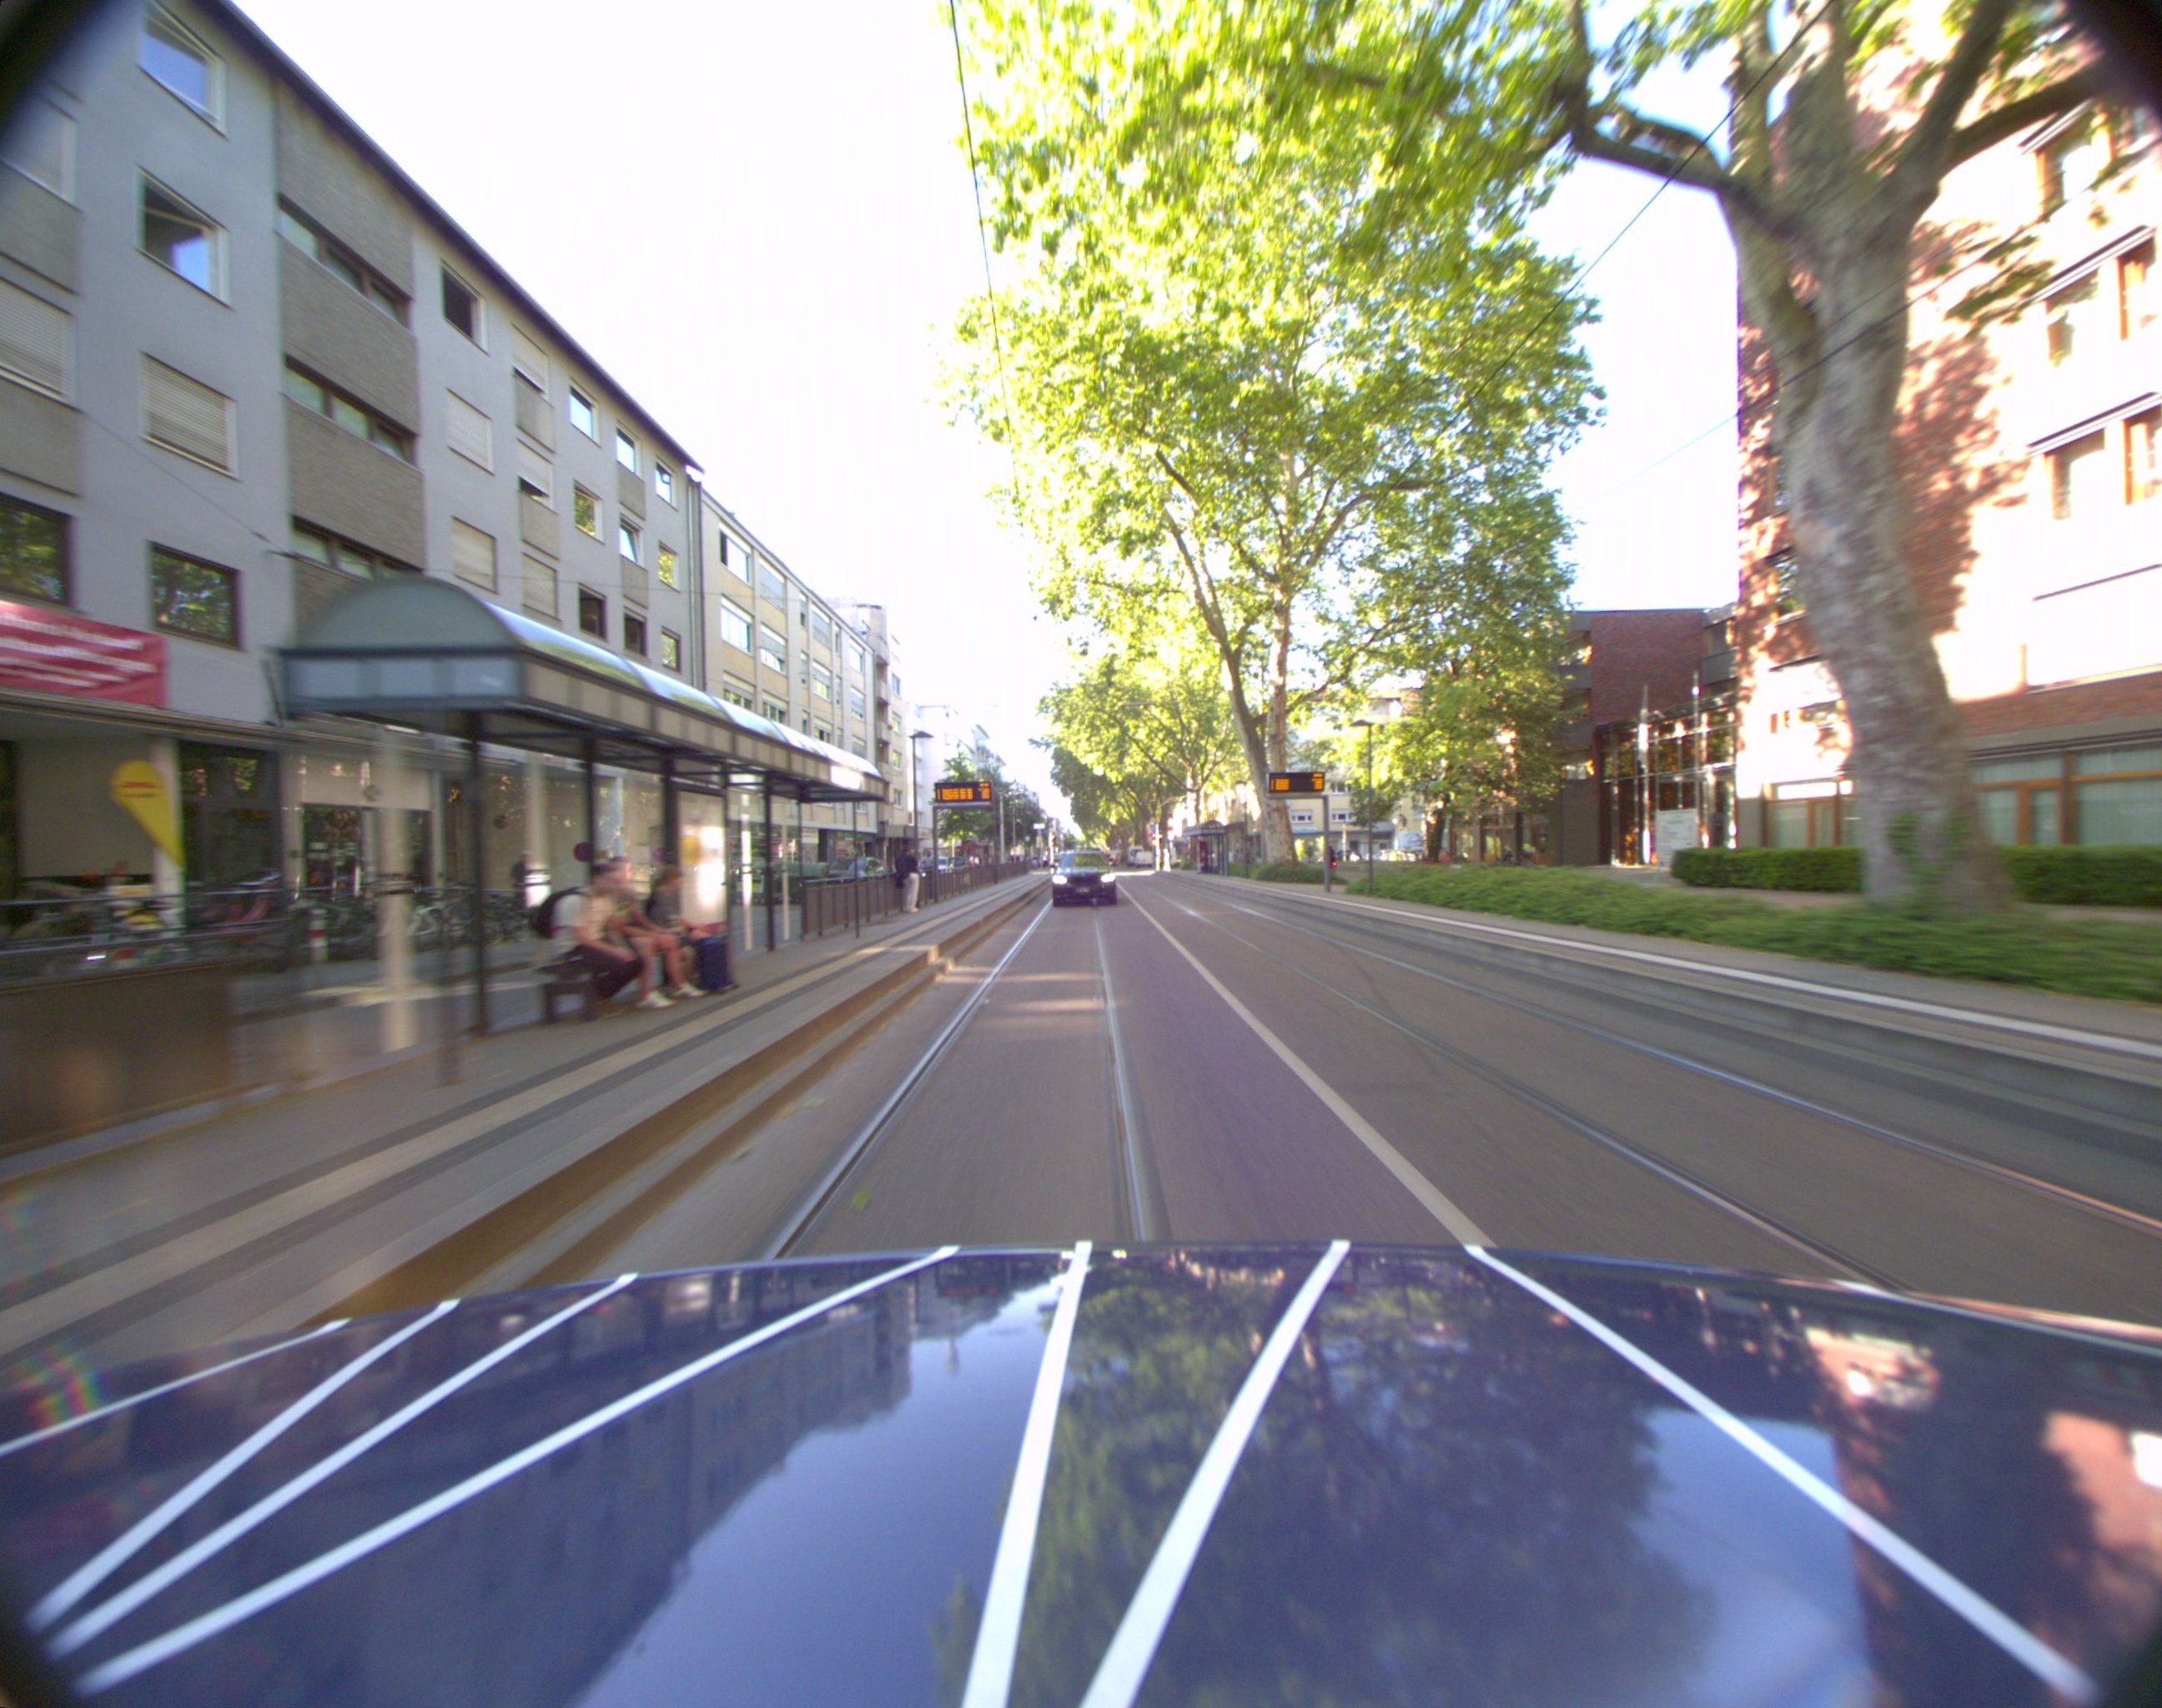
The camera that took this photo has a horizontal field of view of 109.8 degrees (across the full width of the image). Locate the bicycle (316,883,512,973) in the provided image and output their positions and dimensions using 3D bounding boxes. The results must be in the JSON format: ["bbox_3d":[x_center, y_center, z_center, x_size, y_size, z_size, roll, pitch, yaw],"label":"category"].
[{"bbox_3d":[-10.601,1.118,12.287,0.773,1.173,2.782,4,-1,-3],"label":"bicycle"}]

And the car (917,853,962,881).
[{"bbox_3d":[-8.820,0.782,47.686,1.998,1.572,4.000,-2,1,1],"label":"car"}]

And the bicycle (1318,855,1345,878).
[{"bbox_3d":[12.343,0.602,37.479,0.748,1.088,2.039,-2,1,3],"label":"bicycle"}]

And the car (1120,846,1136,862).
[{"bbox_3d":[7.031,-0.009,114.186,2.142,2.274,4.965,-3,1,0],"label":"car"}]

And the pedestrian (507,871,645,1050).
[{"bbox_3d":[-4.001,0.813,6.062,0.721,1.318,0.493,-3,1,-10],"label":"pedestrian"}]

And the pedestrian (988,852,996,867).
[{"bbox_3d":[-9.813,0.588,83.788,0.752,1.645,0.970,-2,1,-1],"label":"pedestrian"}]

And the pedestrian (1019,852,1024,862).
[{"bbox_3d":[-9.348,0.488,120.122,0.685,1.645,0.836,-2,1,-1],"label":"pedestrian"}]

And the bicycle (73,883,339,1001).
[{"bbox_3d":[-10.991,1.034,9.765,0.774,1.173,2.779,4,-1,-15],"label":"bicycle"}]

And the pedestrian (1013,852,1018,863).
[{"bbox_3d":[-10.303,0.528,120.062,0.685,1.645,0.836,-2,1,-1],"label":"pedestrian"}]

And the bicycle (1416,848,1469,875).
[{"bbox_3d":[16.923,0.340,35.586,2.098,1.182,0.882,-2,1,17],"label":"bicycle"}]

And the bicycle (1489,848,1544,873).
[{"bbox_3d":[20.238,0.300,35.309,0.823,1.088,2.033,-3,1,-37],"label":"bicycle"}]

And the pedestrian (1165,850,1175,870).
[{"bbox_3d":[7.239,0.485,61.879,0.708,1.585,0.561,-2,1,2],"label":"pedestrian"}]

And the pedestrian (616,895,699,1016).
[{"bbox_3d":[-3.959,0.929,7.125,0.522,1.049,0.425,-3,1,-10],"label":"pedestrian"}]

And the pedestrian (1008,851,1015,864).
[{"bbox_3d":[-8.531,0.439,93.213,0.752,1.645,0.970,-2,1,-1],"label":"pedestrian"}]

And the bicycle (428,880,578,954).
[{"bbox_3d":[-10.806,1.125,14.382,0.773,1.173,2.782,4,-1,-3],"label":"bicycle"}]

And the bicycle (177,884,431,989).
[{"bbox_3d":[-10.723,1.071,10.716,0.773,1.173,2.782,4,-1,-3],"label":"bicycle"}]

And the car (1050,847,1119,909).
[{"bbox_3d":[0.136,0.692,24.934,1.937,1.718,5.072,-3,1,1],"label":"car"}]

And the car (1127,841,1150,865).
[{"bbox_3d":[7.200,-0.114,96.200,2.429,2.833,5.072,-3,1,0],"label":"car"}]

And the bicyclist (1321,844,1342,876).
[{"bbox_3d":[12.325,0.278,37.377,0.735,1.506,0.892,-2,1,4],"label":"bicyclist"}]

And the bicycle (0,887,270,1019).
[{"bbox_3d":[-10.984,1.020,8.554,0.773,1.173,2.782,4,-1,-3],"label":"bicycle"}]

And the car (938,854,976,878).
[{"bbox_3d":[-8.861,0.830,54.632,1.998,1.583,4.000,-2,1,1],"label":"car"}]

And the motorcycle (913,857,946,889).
[{"bbox_3d":[-7.301,0.883,36.758,1.054,1.446,2.208,-2,1,1],"label":"motorcycle"}]

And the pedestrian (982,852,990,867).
[{"bbox_3d":[-10.938,0.599,87.282,0.752,1.645,0.970,-2,1,-1],"label":"pedestrian"}]

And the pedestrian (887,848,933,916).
[{"bbox_3d":[-4.072,0.665,18.152,0.648,1.567,0.855,-2,1,19],"label":"pedestrian"}]

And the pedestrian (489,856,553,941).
[{"bbox_3d":[-12.303,0.956,16.716,0.772,1.794,0.680,-2,2,3],"label":"pedestrian"}]

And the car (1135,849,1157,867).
[{"bbox_3d":[7.352,0.379,86.025,2.041,1.881,5.072,-3,1,0],"label":"car"}]

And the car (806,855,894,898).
[{"bbox_3d":[-9.406,0.876,31.386,1.958,1.474,4.660,-3,1,3],"label":"car"}]

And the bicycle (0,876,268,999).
[{"bbox_3d":[-11.490,0.910,9.209,0.774,1.173,2.779,4,-1,-14],"label":"bicycle"}]

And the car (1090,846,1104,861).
[{"bbox_3d":[2.681,-0.117,130.030,2.142,2.274,4.965,-3,1,0],"label":"car"}]

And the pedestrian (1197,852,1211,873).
[{"bbox_3d":[7.119,0.495,44.143,0.708,1.197,0.473,-2,1,2],"label":"pedestrian"}]

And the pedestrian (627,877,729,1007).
[{"bbox_3d":[-4.035,0.857,7.651,0.680,1.198,0.648,-3,1,-10],"label":"pedestrian"}]

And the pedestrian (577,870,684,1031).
[{"bbox_3d":[-3.895,0.811,6.609,0.586,1.297,0.526,-3,1,-10],"label":"pedestrian"}]

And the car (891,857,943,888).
[{"bbox_3d":[-9.069,0.979,42.285,1.899,1.477,4.000,-2,1,1],"label":"car"}]

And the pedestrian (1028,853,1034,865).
[{"bbox_3d":[-6.857,0.727,104.438,0.752,1.645,0.970,-2,1,-1],"label":"pedestrian"}]
